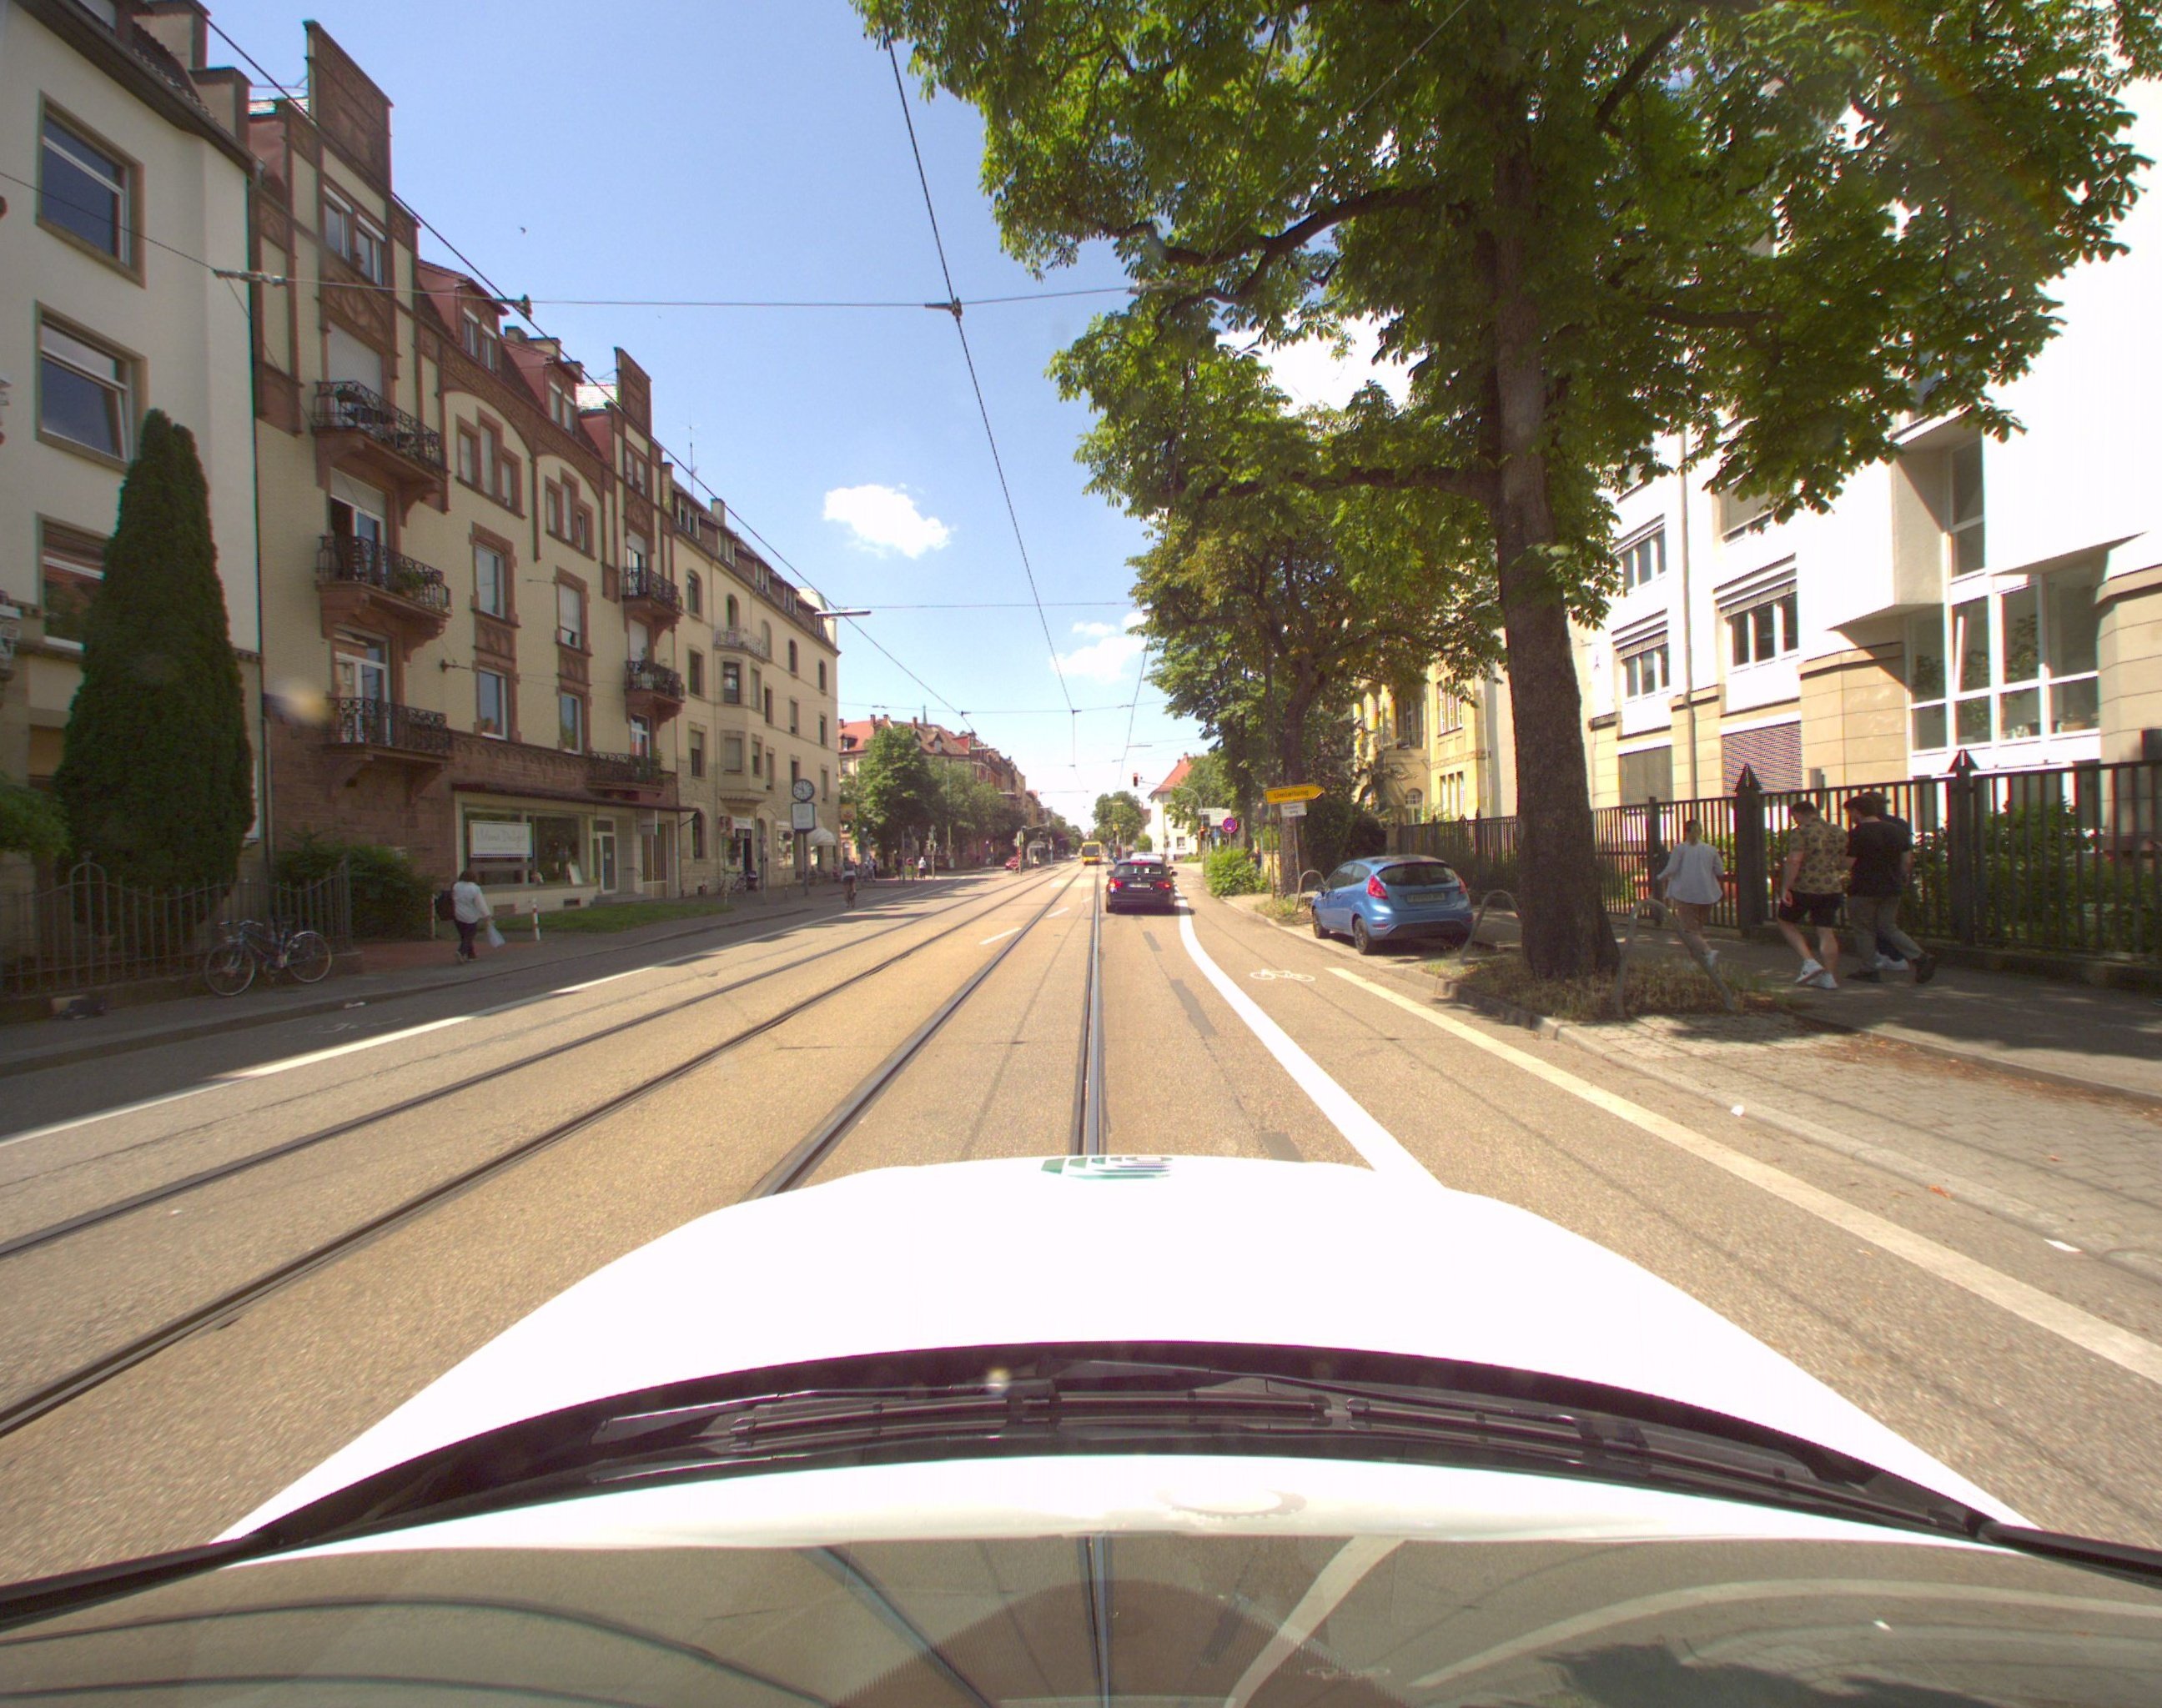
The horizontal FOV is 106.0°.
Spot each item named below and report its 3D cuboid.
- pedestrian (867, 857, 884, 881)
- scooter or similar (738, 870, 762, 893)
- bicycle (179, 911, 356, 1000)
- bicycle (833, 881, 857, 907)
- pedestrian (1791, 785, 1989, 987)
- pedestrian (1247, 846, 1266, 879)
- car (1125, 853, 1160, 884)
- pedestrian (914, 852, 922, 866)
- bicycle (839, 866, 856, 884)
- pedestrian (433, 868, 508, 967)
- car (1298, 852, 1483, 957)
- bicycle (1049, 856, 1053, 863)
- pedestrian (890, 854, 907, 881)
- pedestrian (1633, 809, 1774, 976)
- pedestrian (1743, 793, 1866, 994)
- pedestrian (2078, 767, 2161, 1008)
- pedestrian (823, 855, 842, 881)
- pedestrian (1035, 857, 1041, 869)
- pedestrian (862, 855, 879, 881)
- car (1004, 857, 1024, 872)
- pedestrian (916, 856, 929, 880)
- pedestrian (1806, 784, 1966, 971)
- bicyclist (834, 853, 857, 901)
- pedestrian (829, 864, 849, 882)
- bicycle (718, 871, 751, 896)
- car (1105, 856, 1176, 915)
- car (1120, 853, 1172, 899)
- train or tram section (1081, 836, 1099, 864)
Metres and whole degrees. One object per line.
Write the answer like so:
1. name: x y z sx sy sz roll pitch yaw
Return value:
1. pedestrian: -14.331 1.062 56.741 0.857 1.635 1.026 -2 0 0
2. scooter or similar: -15.562 1.278 38.290 0.699 1.044 1.196 0 -1 -39
3. bicycle: -10.647 1.293 10.755 0.409 0.961 1.841 2 -1 1
4. bicycle: -8.220 1.373 28.381 0.754 0.817 1.811 -2 0 -15
5. pedestrian: 7.609 0.280 7.723 0.785 1.761 1.052 -2 0 1
6. pedestrian: 8.959 0.414 41.594 0.852 1.645 0.838 -2 0 8
7. car: 3.127 0.686 41.044 1.683 1.514 3.826 0 0 5
8. pedestrian: -21.795 0.712 108.919 0.743 1.811 0.634 -2 0 -32
9. bicycle: -15.716 1.395 54.730 0.547 1.128 1.664 -1 -2 -36
10. pedestrian: -10.226 1.032 13.635 0.908 1.542 0.972 -2 0 -40
11. car: 4.977 0.723 13.654 1.672 1.443 3.721 -3 0 0
12. bicycle: -5.295 0.958 143.798 0.726 1.101 1.716 -2 0 1
13. pedestrian: -13.344 0.967 59.619 0.897 1.891 1.164 -1 0 0
14. pedestrian: 6.568 0.387 8.655 0.762 1.651 0.976 -2 0 7
15. pedestrian: 6.874 0.352 7.786 0.698 1.776 0.953 -2 0 33
16. pedestrian: 8.381 0.240 6.009 0.682 1.797 1.084 -2 0 1
17. pedestrian: -16.176 0.907 53.035 0.914 1.594 0.808 -2 0 -2
18. pedestrian: -4.570 0.928 86.367 0.612 1.243 0.627 -2 0 -5
19. pedestrian: -13.926 0.915 53.882 0.780 1.732 0.852 0 0 -44
20. car: -7.500 1.149 91.049 1.817 1.413 4.427 -3 0 -1
21. pedestrian: -12.122 1.066 62.313 0.915 1.723 0.838 -2 0 -8
22. pedestrian: 8.326 0.226 8.473 0.658 1.811 0.977 -2 0 1
23. bicyclist: -8.200 0.790 28.372 0.757 1.663 0.826 0 -1 -16
24. pedestrian: -15.210 1.179 51.172 0.912 1.077 0.883 -2 0 2
25. bicycle: -15.424 1.294 36.286 0.366 1.066 1.473 -1 -1 25
26. car: 1.646 0.769 22.261 1.714 1.409 4.571 0 0 5
27. car: 2.301 0.744 29.327 1.678 1.484 3.688 -2 0 3
28. train or tram section: 1.245 -0.509 110.186 2.182 3.482 8.846 -2 0 1
